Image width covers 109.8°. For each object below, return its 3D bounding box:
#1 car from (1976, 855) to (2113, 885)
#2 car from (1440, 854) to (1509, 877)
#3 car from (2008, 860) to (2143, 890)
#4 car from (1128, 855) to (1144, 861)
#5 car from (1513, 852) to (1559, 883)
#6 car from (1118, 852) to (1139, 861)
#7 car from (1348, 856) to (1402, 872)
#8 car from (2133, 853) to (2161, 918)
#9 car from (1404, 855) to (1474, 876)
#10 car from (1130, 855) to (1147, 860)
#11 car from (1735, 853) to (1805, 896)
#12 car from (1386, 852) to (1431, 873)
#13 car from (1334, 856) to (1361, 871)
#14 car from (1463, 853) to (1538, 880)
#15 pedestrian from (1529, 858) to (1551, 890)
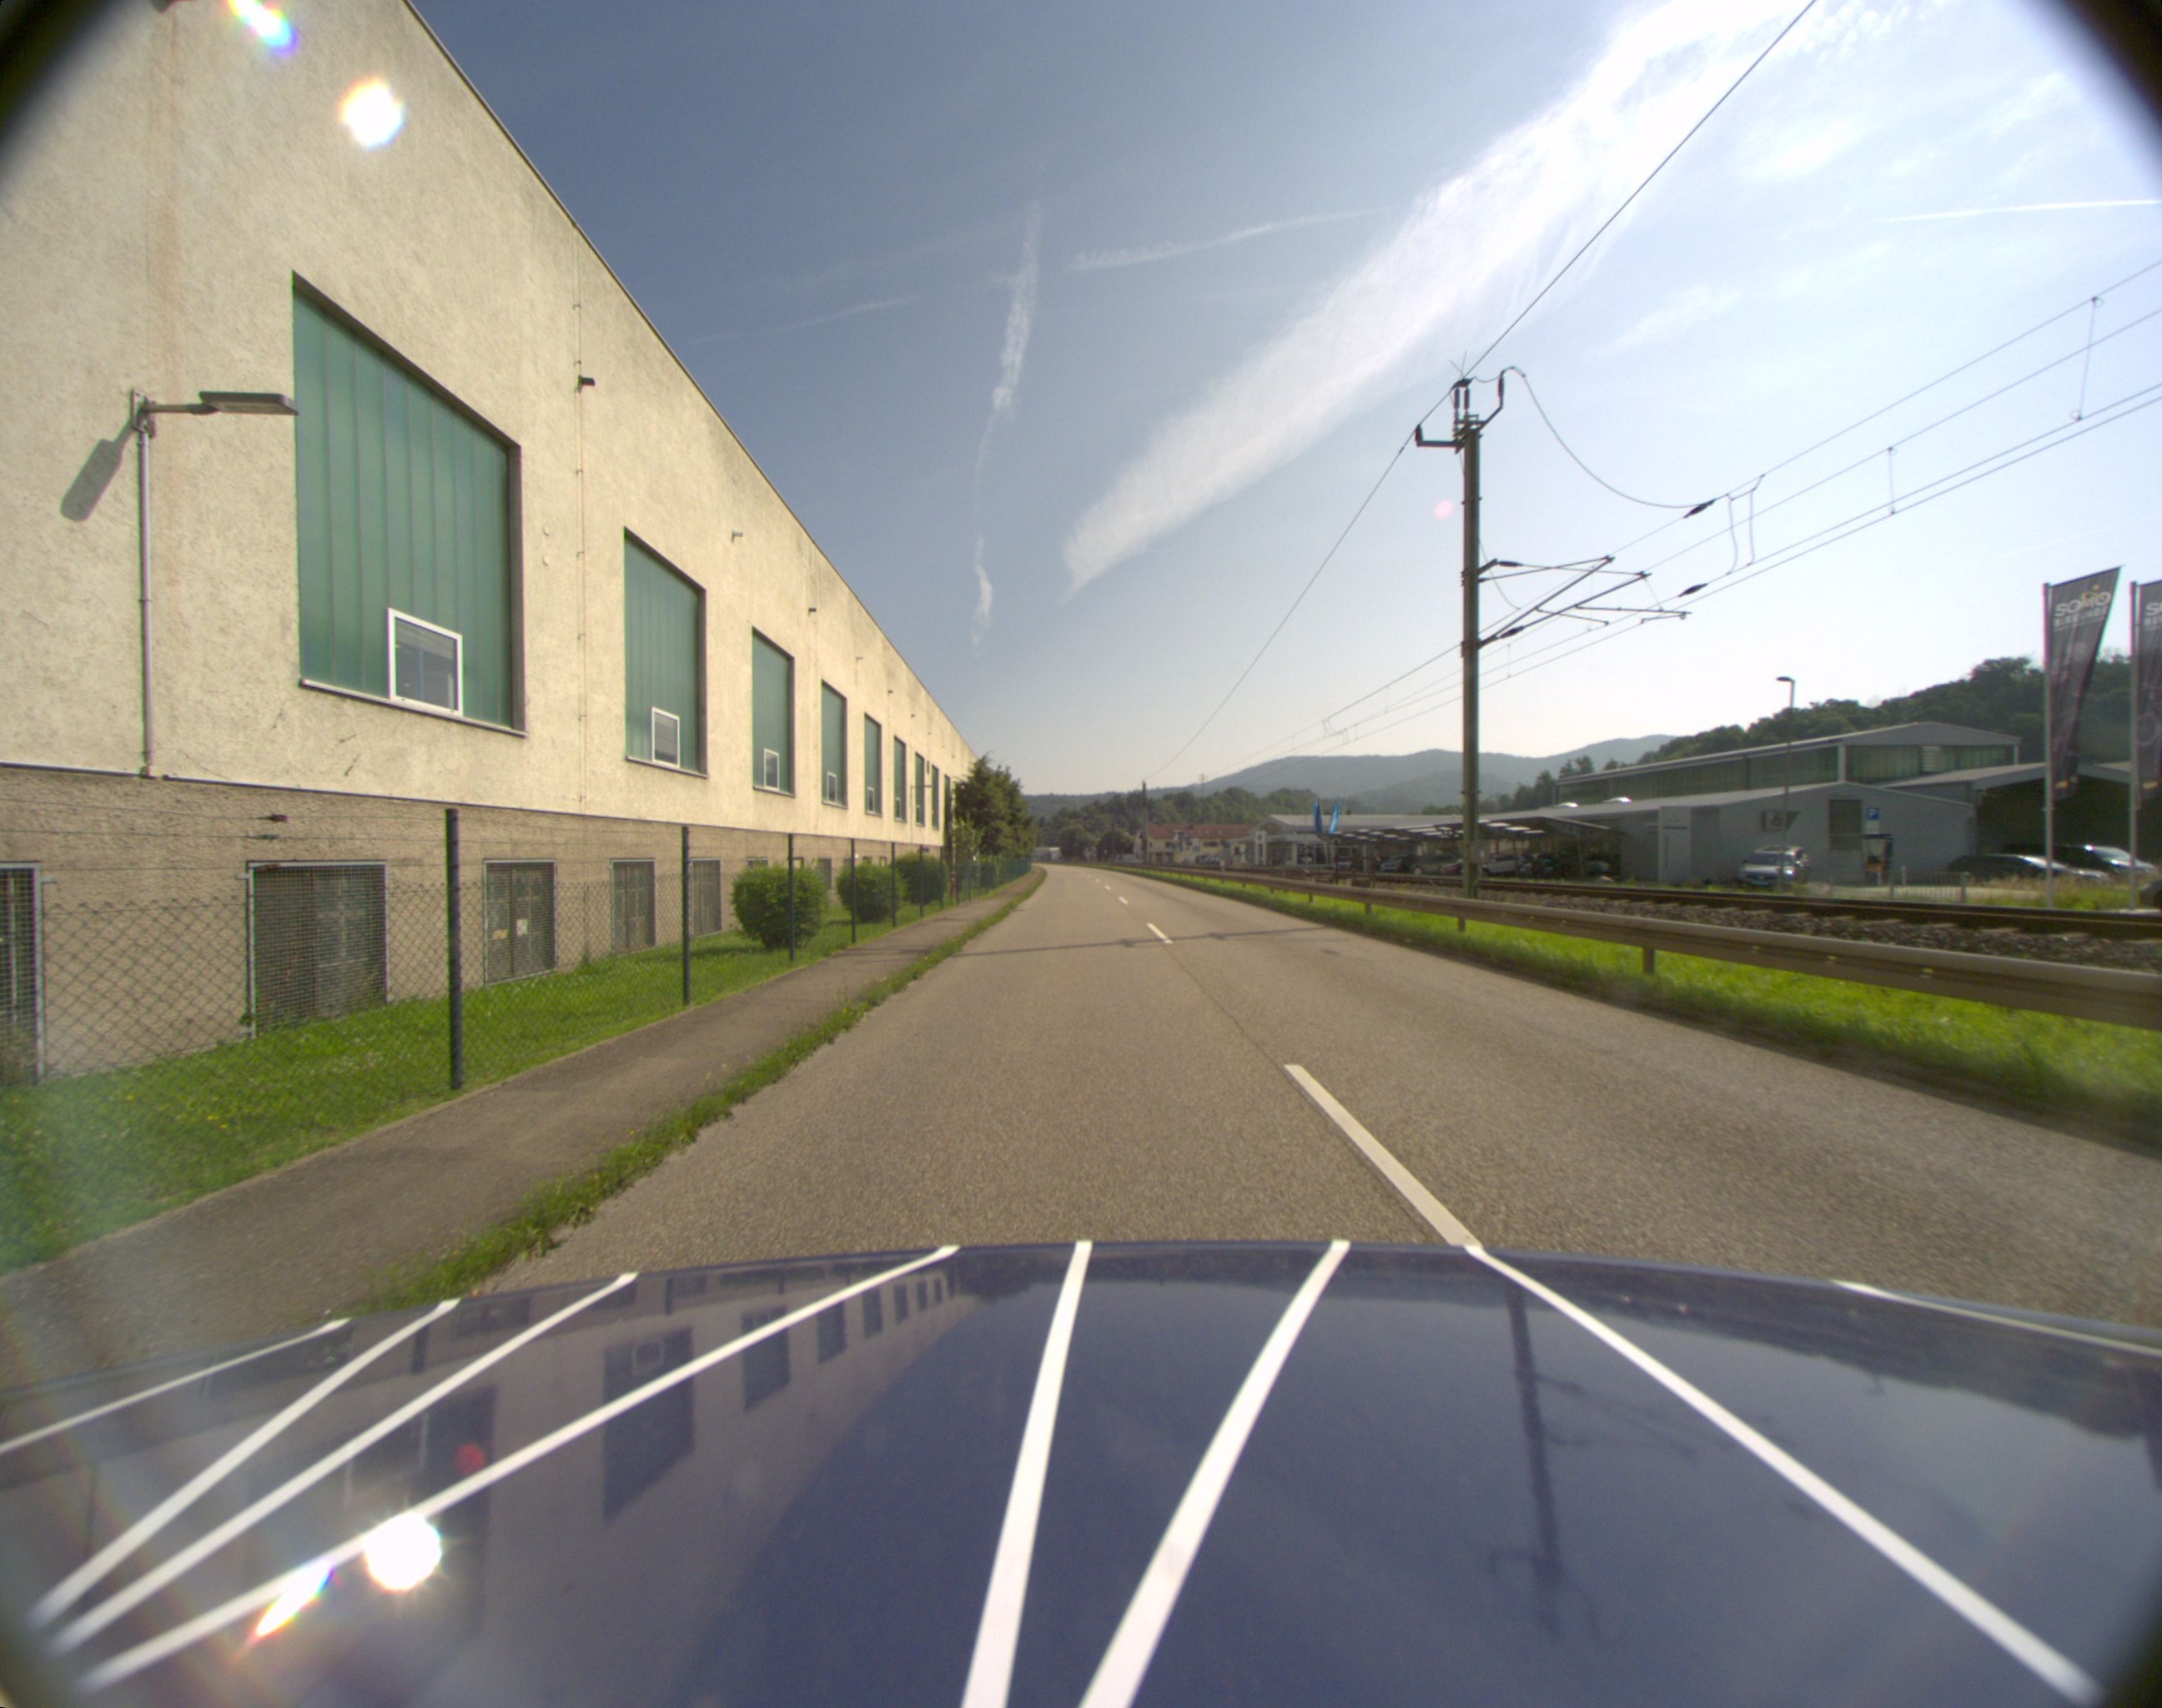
[{"bbox_3d":[42.363,0.673,33.513,1.457,1.261,3.484,0,0,-9],"label":"car"},{"bbox_3d":[27.138,0.792,52.390,3.967,1.317,1.501,-3,0,-3],"label":"car"},{"bbox_3d":[45.125,0.916,34.589,1.457,1.290,3.484,0,0,-9],"label":"car"},{"bbox_3d":[13.909,0.986,192.191,3.859,1.292,1.647,0,0,-10],"label":"car"},{"bbox_3d":[27.423,0.791,45.741,1.659,1.613,4.039,-3,0,41],"label":"car"},{"bbox_3d":[12.998,0.620,208.590,5.589,2.402,2.235,0,0,-7],"label":"car"},{"bbox_3d":[26.646,0.906,68.993,1.851,1.334,4.196,0,0,-43],"label":"car"},{"bbox_3d":[29.268,0.832,18.345,1.523,1.679,4.369,-2,0,-4],"label":"car"},{"bbox_3d":[27.082,0.867,57.506,1.851,1.496,4.422,0,0,-40],"label":"car"},{"bbox_3d":[14.416,0.866,189.670,3.859,1.292,1.647,0,0,-10],"label":"car"},{"bbox_3d":[30.743,0.872,33.863,4.006,1.522,1.519,-6,3,-36],"label":"car"},{"bbox_3d":[27.563,0.691,63.839,4.279,1.519,1.842,-3,0,-42],"label":"car"},{"bbox_3d":[26.194,0.899,74.503,1.842,1.377,4.532,0,0,28],"label":"car"},{"bbox_3d":[27.510,0.780,49.878,3.967,1.519,1.662,-3,0,-3],"label":"car"},{"bbox_3d":[25.195,1.109,41.708,0.806,1.724,0.833,0,0,-45],"label":"pedestrian"}]
